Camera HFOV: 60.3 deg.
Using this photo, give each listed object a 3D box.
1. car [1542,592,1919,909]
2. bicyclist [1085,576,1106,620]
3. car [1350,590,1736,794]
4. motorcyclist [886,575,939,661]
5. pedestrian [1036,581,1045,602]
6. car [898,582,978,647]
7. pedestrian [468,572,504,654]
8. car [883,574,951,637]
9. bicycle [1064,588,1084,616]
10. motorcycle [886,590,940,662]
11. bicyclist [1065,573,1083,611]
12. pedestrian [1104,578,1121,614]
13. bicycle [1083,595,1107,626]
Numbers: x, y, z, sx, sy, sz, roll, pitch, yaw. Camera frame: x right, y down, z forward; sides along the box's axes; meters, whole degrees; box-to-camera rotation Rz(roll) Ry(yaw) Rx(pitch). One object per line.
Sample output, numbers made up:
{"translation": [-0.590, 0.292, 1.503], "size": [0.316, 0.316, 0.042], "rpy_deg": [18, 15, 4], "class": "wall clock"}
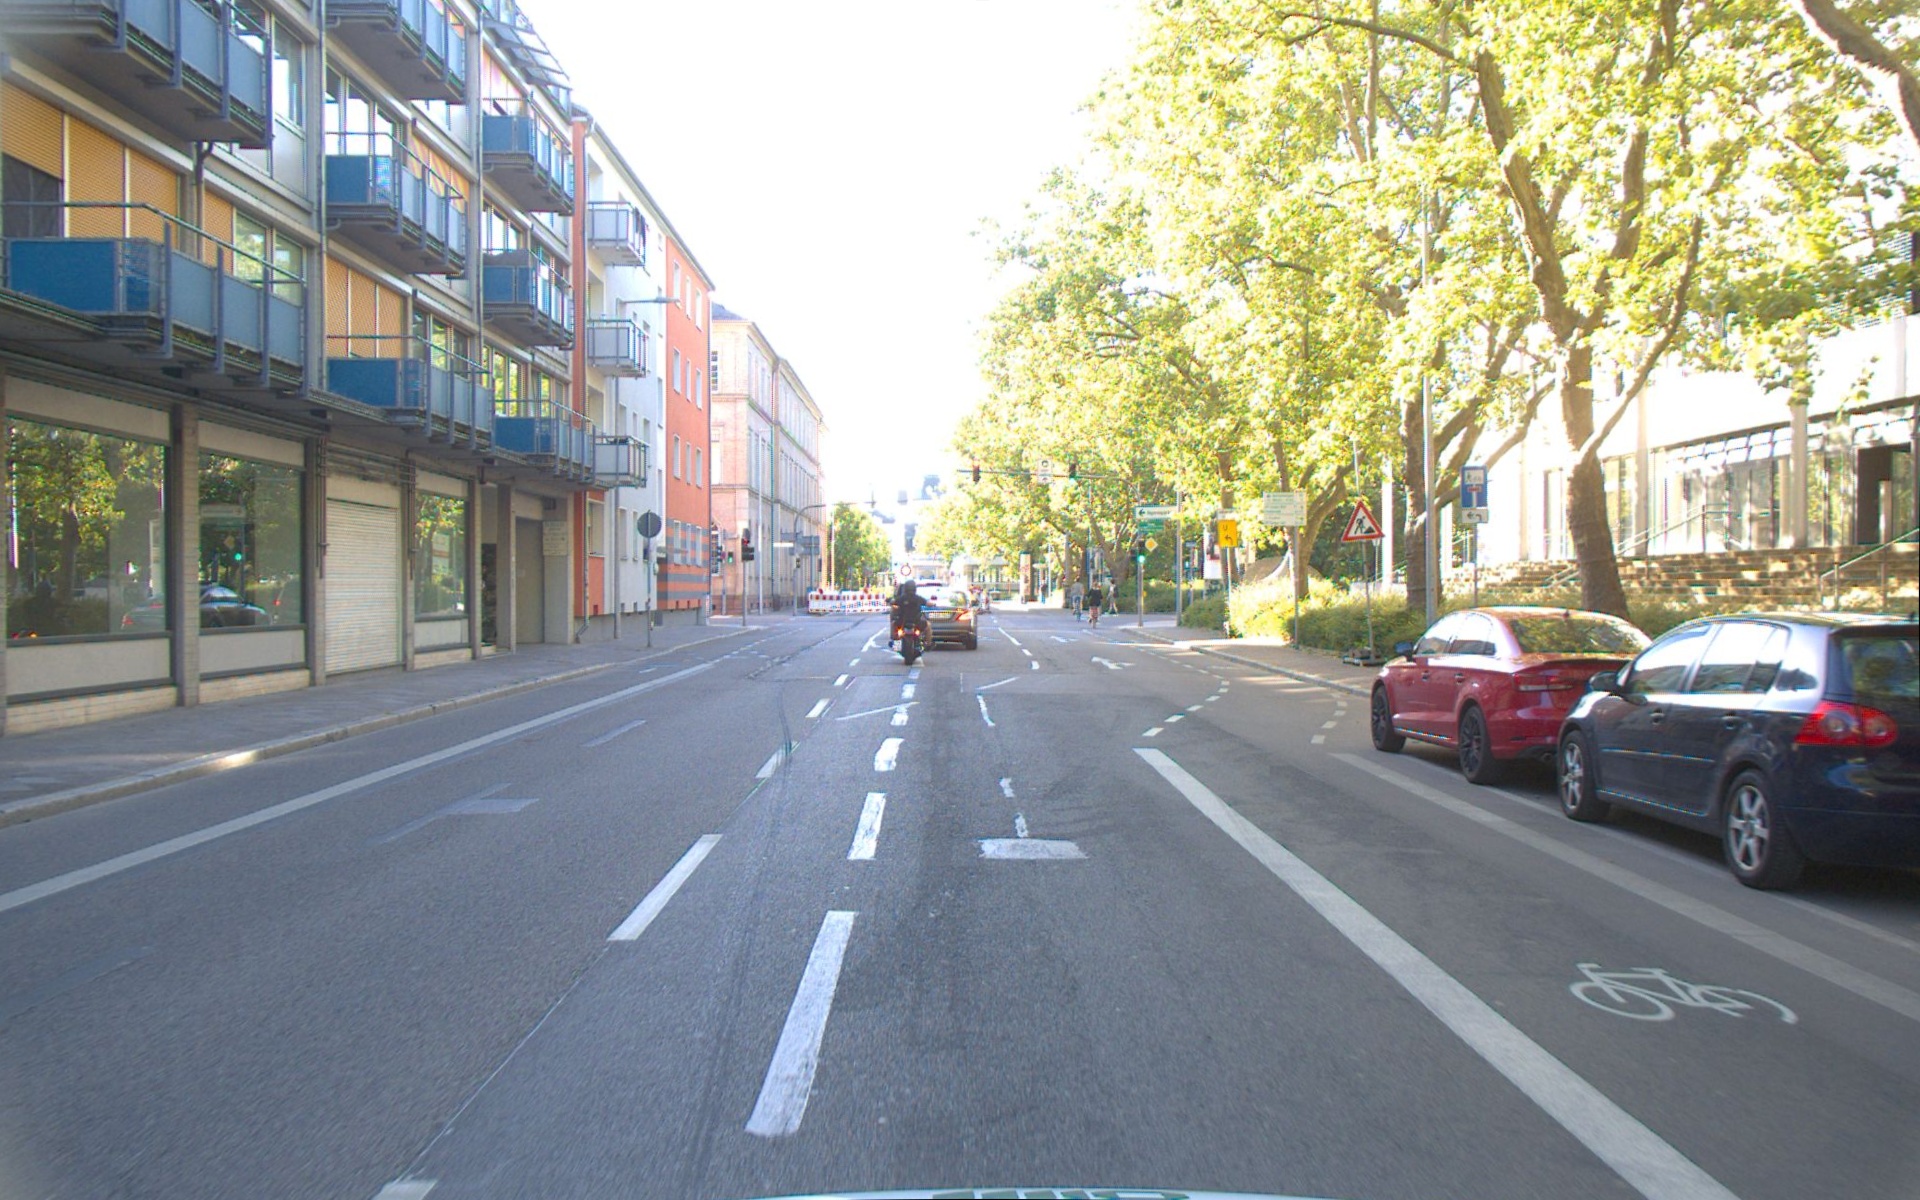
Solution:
{"translation": [5.076, 0.735, 9.991], "size": [1.658, 1.492, 4.065], "rpy_deg": [2, 1, 0], "class": "car"}
{"translation": [4.887, -0.084, 59.856], "size": [0.643, 1.557, 0.852], "rpy_deg": [1, 0, -1], "class": "bicyclist"}
{"translation": [4.962, 0.692, 14.792], "size": [1.659, 1.474, 4.434], "rpy_deg": [2, 1, -3], "class": "car"}
{"translation": [-0.914, 0.332, 32.142], "size": [0.992, 1.630, 1.406], "rpy_deg": [0, 0, -1], "class": "motorcyclist"}
{"translation": [6.068, -0.623, 124.462], "size": [0.580, 1.606, 0.527], "rpy_deg": [1, 0, -1], "class": "pedestrian"}
{"translation": [-0.542, 0.306, 39.297], "size": [1.791, 1.445, 3.814], "rpy_deg": [0, 1, -1], "class": "car"}
{"translation": [-9.348, 0.253, 32.660], "size": [0.503, 1.607, 0.756], "rpy_deg": [0, 0, -1], "class": "pedestrian"}
{"translation": [-1.271, 0.152, 47.134], "size": [1.599, 1.679, 3.845], "rpy_deg": [1, 0, -6], "class": "car"}
{"translation": [4.729, 0.072, 68.662], "size": [0.643, 1.131, 2.185], "rpy_deg": [1, 0, -1], "class": "bicycle"}
{"translation": [-0.909, 0.480, 32.171], "size": [0.991, 1.329, 2.672], "rpy_deg": [0, 1, -1], "class": "motorcycle"}
{"translation": [4.744, -0.318, 68.710], "size": [0.643, 1.557, 0.906], "rpy_deg": [1, 0, -1], "class": "bicyclist"}
{"translation": [7.700, -0.203, 83.527], "size": [0.565, 1.805, 0.618], "rpy_deg": [1, 0, -33], "class": "pedestrian"}
{"translation": [4.881, 0.372, 59.867], "size": [0.643, 1.089, 1.926], "rpy_deg": [1, 0, -1], "class": "bicycle"}
